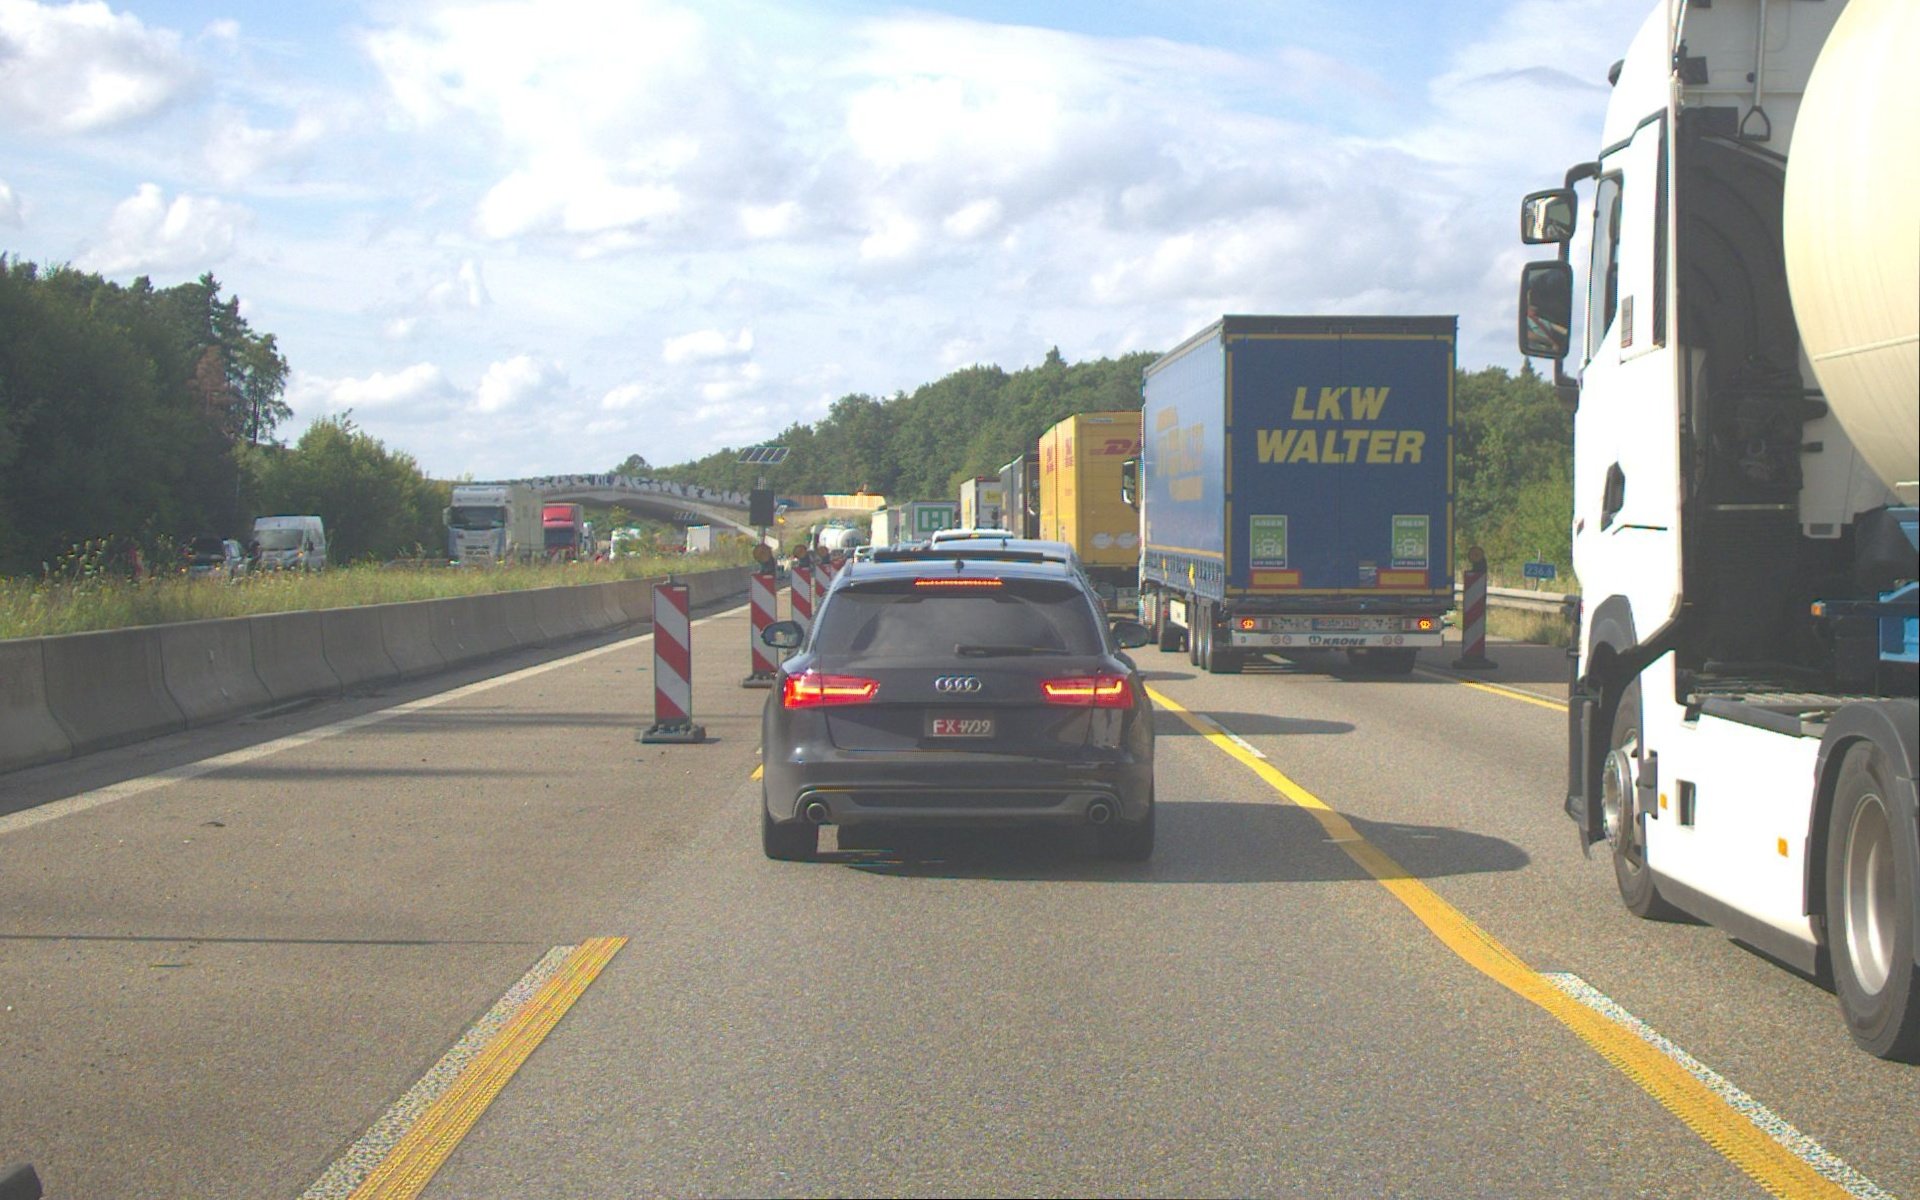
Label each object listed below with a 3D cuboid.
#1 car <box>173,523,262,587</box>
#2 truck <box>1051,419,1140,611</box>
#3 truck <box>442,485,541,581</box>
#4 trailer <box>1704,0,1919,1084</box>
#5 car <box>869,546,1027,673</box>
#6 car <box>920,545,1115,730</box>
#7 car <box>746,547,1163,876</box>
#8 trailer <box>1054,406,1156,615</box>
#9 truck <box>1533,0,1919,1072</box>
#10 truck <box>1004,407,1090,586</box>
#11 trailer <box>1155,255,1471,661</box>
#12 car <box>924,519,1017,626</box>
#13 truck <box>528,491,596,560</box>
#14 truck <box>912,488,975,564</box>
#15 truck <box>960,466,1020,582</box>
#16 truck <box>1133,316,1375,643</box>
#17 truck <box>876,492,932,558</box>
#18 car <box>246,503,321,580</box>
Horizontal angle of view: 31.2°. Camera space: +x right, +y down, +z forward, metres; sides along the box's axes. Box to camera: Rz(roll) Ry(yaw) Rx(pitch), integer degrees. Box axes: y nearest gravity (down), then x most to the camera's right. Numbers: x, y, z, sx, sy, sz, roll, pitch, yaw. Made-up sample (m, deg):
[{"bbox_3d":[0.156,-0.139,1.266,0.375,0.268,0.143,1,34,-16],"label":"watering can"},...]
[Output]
[{"bbox_3d":[-24.222,-1.457,112.274,1.993,2.007,4.000,1,1,0],"label":"car"},{"bbox_3d":[2.816,-1.756,71.962,1.609,3.883,4.072,1,0,-1],"label":"truck"},{"bbox_3d":[-20.206,-2.868,148.912,2.782,3.971,10.862,1,1,0],"label":"truck"},{"bbox_3d":[3.880,-0.611,5.403,2.644,3.929,12.598,1,1,0],"label":"trailer"},{"bbox_3d":[-0.128,0.085,40.164,1.751,1.392,3.608,1,1,0],"label":"car"},{"bbox_3d":[0.461,0.280,28.795,1.524,1.434,3.285,1,1,0],"label":"car"},{"bbox_3d":[-0.018,0.477,17.304,1.848,1.458,4.000,0,1,0],"label":"car"},{"bbox_3d":[2.827,-1.720,67.956,1.616,3.905,6.489,1,1,-1],"label":"trailer"},{"bbox_3d":[3.895,-0.688,12.353,2.659,3.958,5.779,1,0,0],"label":"truck"},{"bbox_3d":[2.454,-2.951,99.373,1.993,4.897,9.563,1,1,-1],"label":"truck"},{"bbox_3d":[4.151,-1.599,42.791,2.805,4.398,10.433,1,1,0],"label":"trailer"},{"bbox_3d":[0.179,-0.490,60.960,1.581,1.830,3.112,1,1,0],"label":"car"},{"bbox_3d":[-23.924,-4.459,206.929,2.800,3.978,10.186,1,1,0],"label":"truck"},{"bbox_3d":[-0.962,-4.110,193.323,3.304,4.160,9.703,0,1,-2],"label":"truck"},{"bbox_3d":[1.090,-2.852,130.323,2.137,4.243,7.071,1,1,0],"label":"truck"},{"bbox_3d":[4.150,-1.653,50.079,2.806,4.354,7.792,1,1,0],"label":"truck"},{"bbox_3d":[-3.710,-4.894,224.504,3.303,4.160,9.703,0,1,-3],"label":"truck"},{"bbox_3d":[-23.999,-2.071,122.127,2.250,2.634,5.021,1,1,-7],"label":"car"}]
